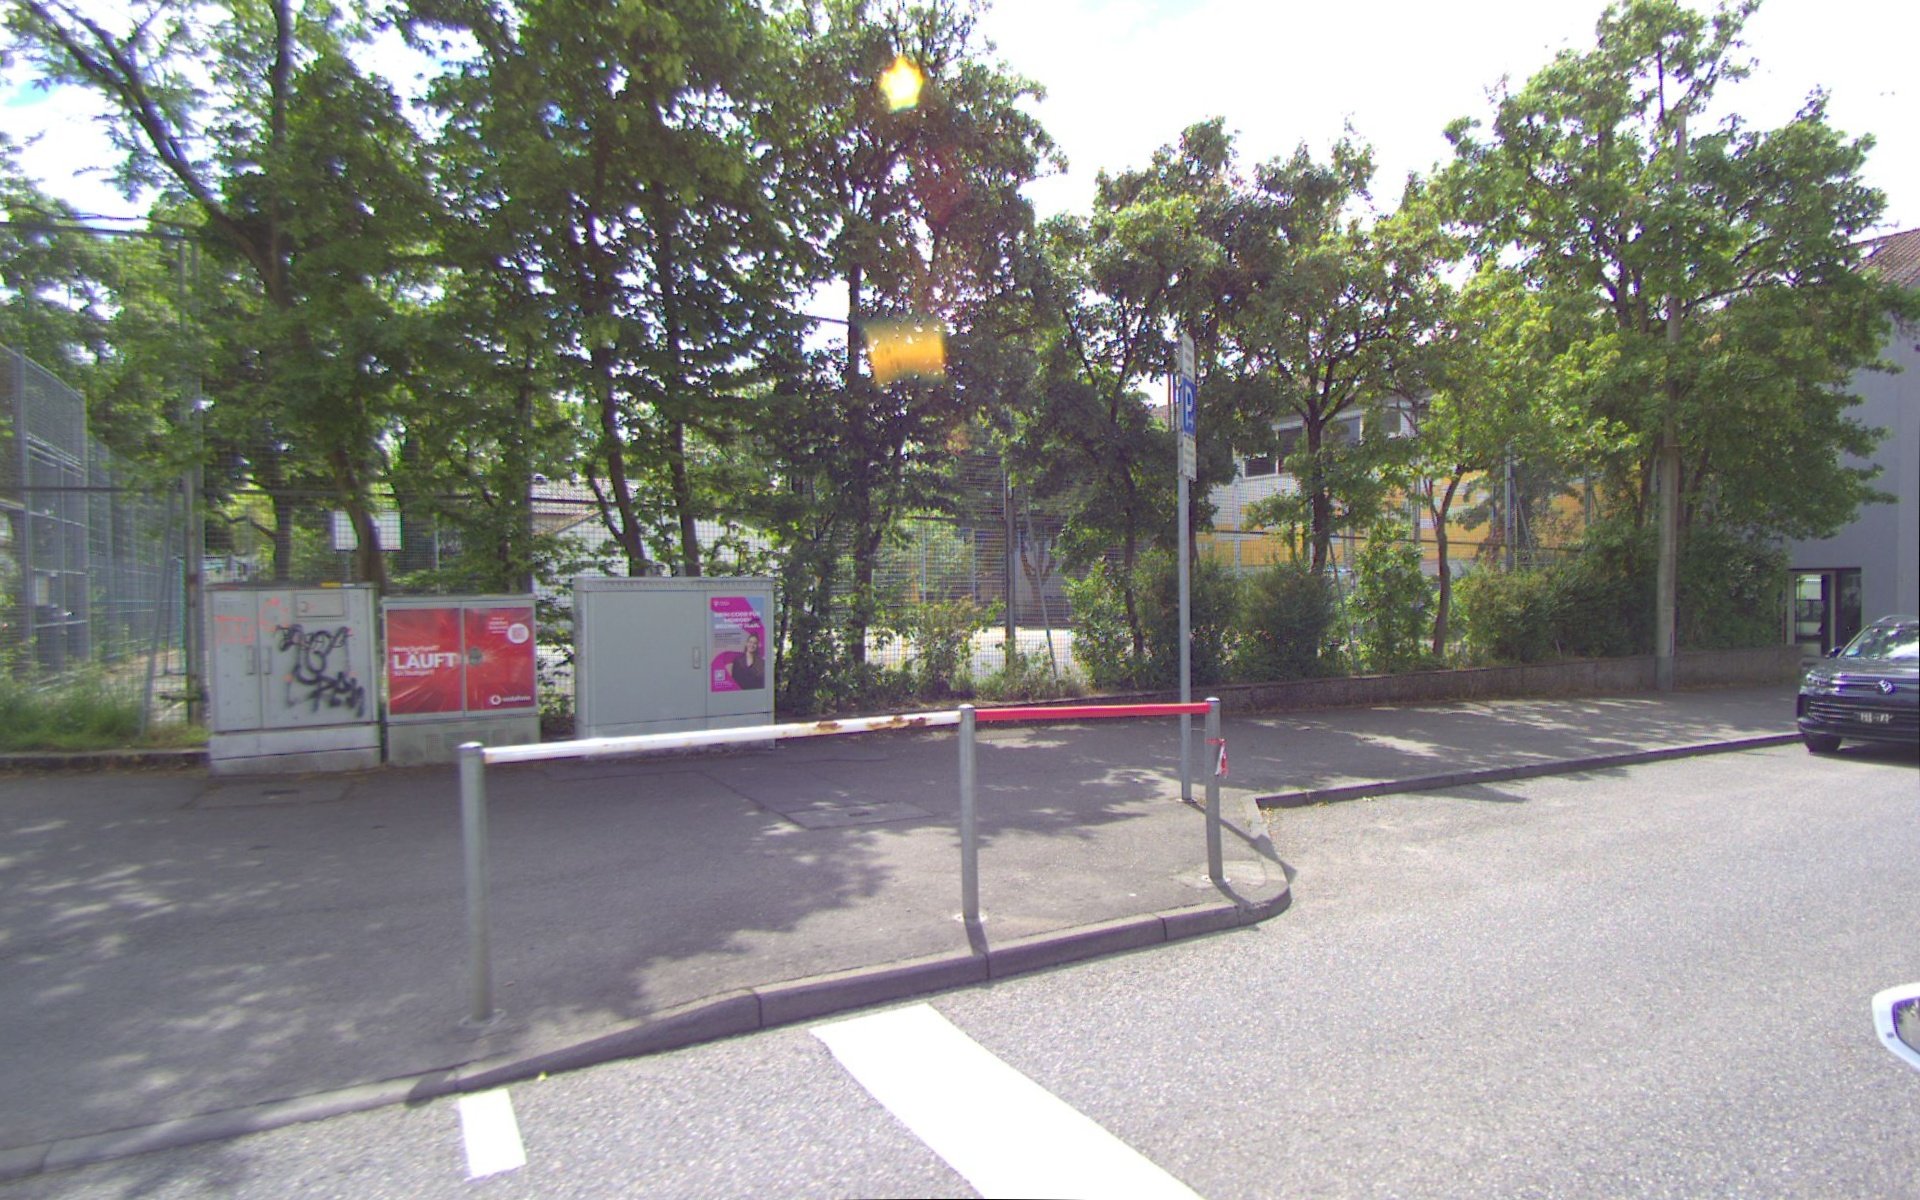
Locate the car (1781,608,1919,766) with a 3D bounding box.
[{"bbox_3d":[11.869,0.939,12.129,4.597,1.632,1.784,0,1,-34],"label":"car"}]
